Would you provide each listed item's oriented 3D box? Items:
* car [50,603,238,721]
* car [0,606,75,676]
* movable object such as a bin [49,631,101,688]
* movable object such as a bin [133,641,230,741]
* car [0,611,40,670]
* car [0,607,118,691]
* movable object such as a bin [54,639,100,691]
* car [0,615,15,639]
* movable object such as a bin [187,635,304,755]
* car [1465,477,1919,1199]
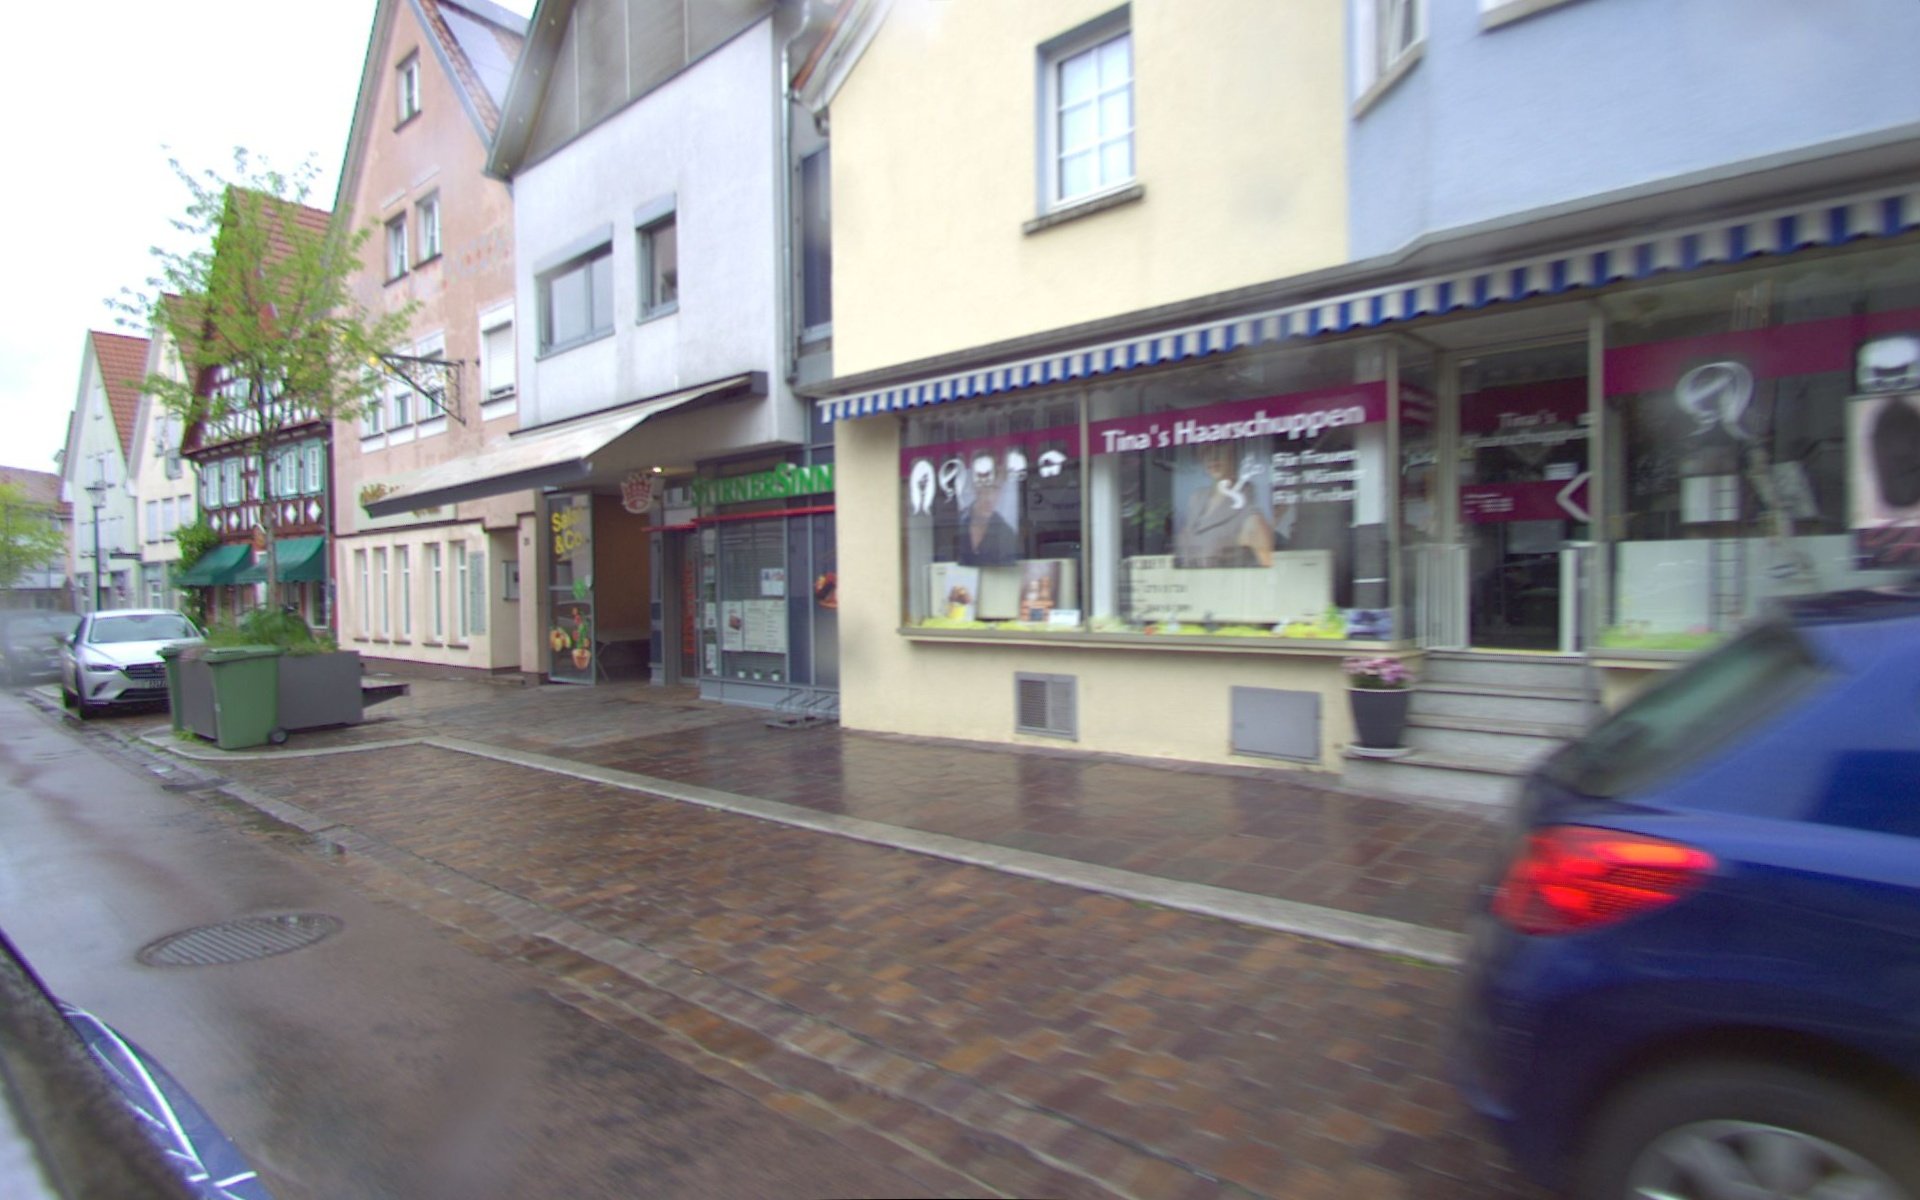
[{"bbox_3d":[-12.907,0.854,15.928,4.001,1.578,1.807,0,1,44],"label":"car"},{"bbox_3d":[-25.518,1.044,27.386,4.539,1.687,1.814,0,1,42],"label":"car"},{"bbox_3d":[-17.983,1.194,20.568,0.739,1.090,0.764,-1,1,-45],"label":"movable object such as a bin"},{"bbox_3d":[-9.493,1.086,12.342,0.609,1.114,0.807,0,1,38],"label":"movable object such as a bin"},{"bbox_3d":[-30.728,1.277,32.255,4.481,1.687,1.752,0,2,44],"label":"car"},{"bbox_3d":[-20.851,1.028,23.065,4.280,1.563,1.815,0,4,41],"label":"car"},{"bbox_3d":[-17.501,1.283,20.061,0.649,0.962,0.562,-1,1,-45],"label":"movable object such as a bin"},{"bbox_3d":[-63.263,1.757,65.126,1.667,1.551,4.415,0,-1,-13],"label":"car"},{"bbox_3d":[-7.508,0.970,10.652,0.609,1.114,0.807,0,4,38],"label":"movable object such as a bin"},{"bbox_3d":[3.150,0.504,1.505,3.993,1.483,1.975,-1,1,37],"label":"car"}]
